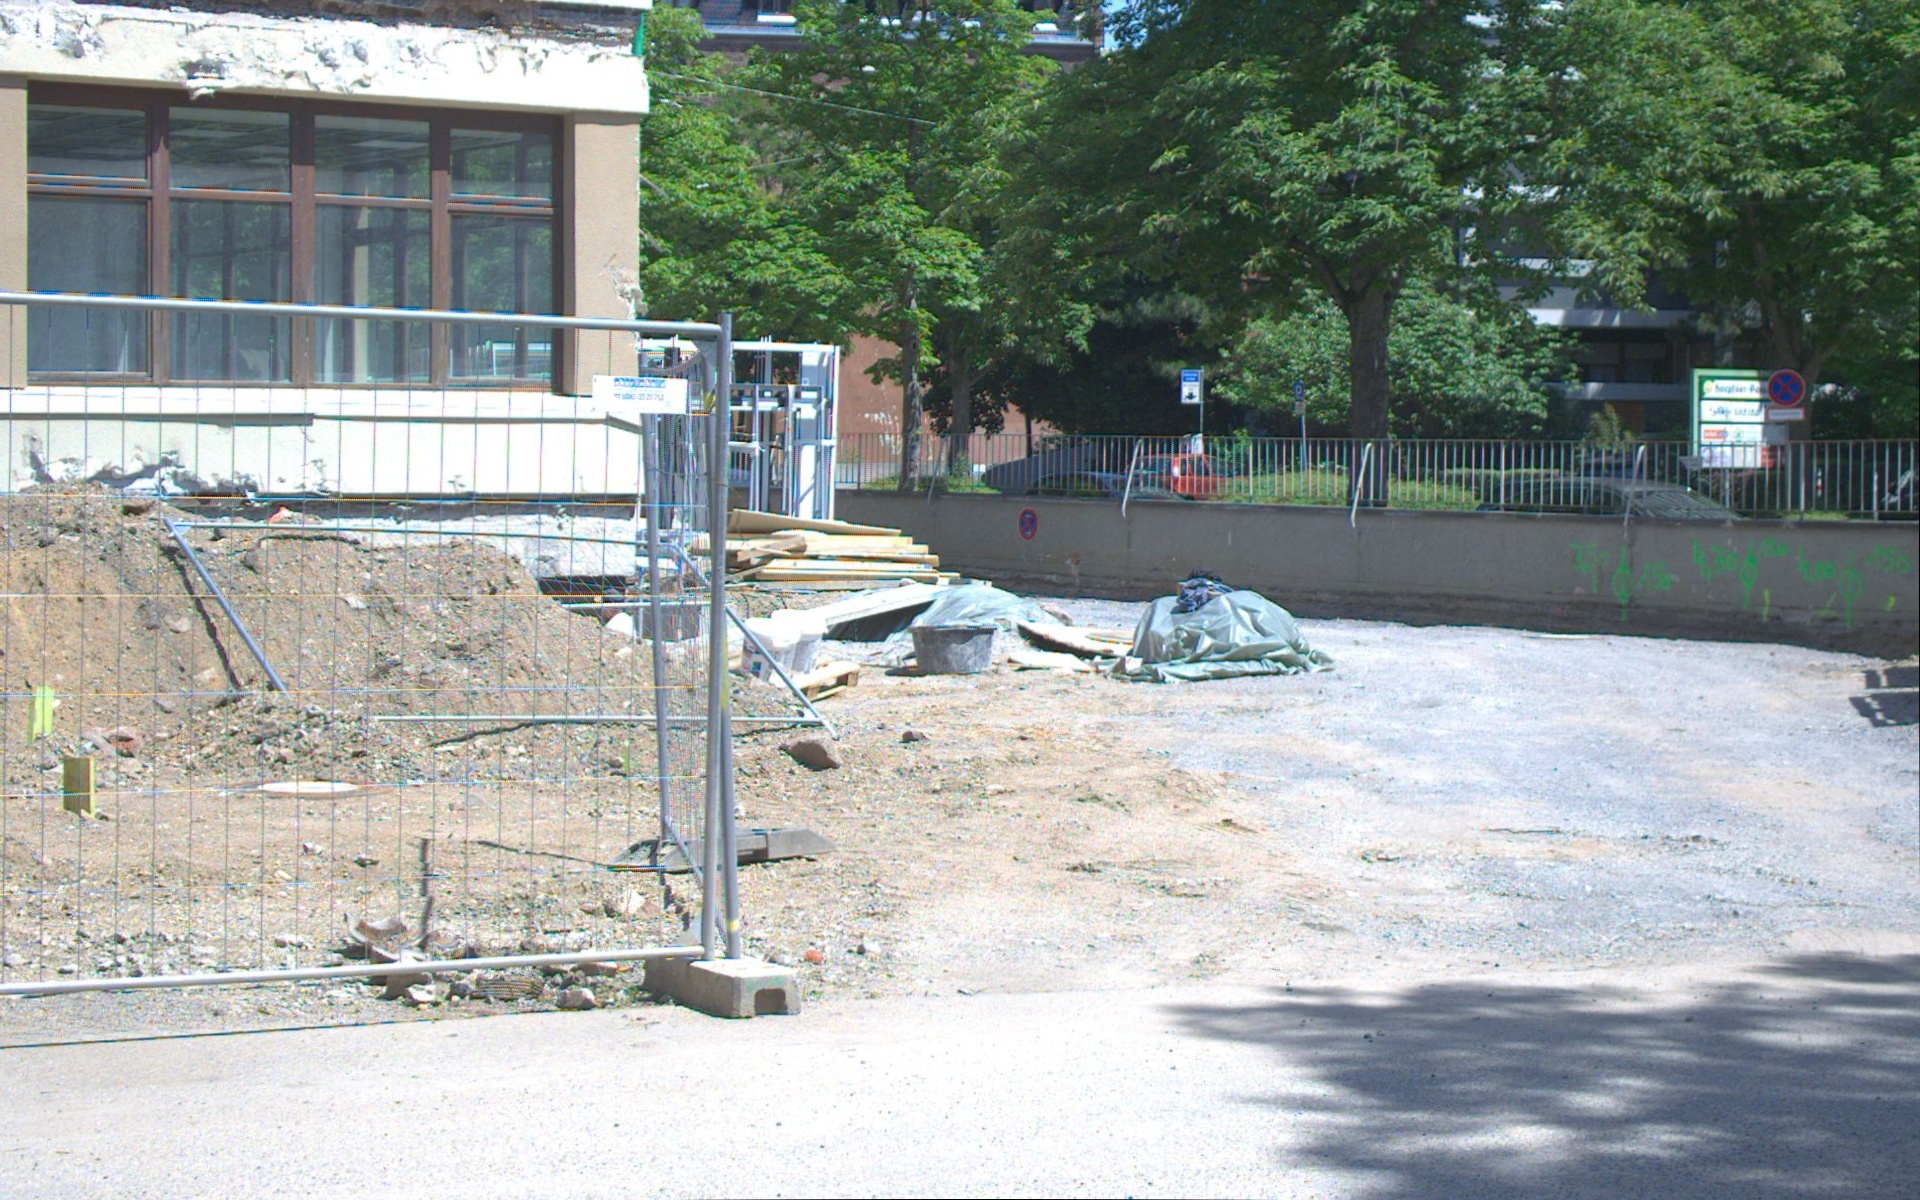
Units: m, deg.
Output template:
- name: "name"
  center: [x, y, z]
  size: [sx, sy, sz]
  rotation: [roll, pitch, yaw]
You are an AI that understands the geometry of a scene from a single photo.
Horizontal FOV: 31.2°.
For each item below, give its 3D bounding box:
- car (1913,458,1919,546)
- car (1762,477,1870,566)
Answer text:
- name: "car"
  center: [16.142, -1.559, 54.840]
  size: [1.634, 1.382, 3.676]
  rotation: [1, 2, 13]
- name: "car"
  center: [13.989, -1.312, 56.325]
  size: [1.634, 1.382, 3.676]
  rotation: [1, 2, 13]
